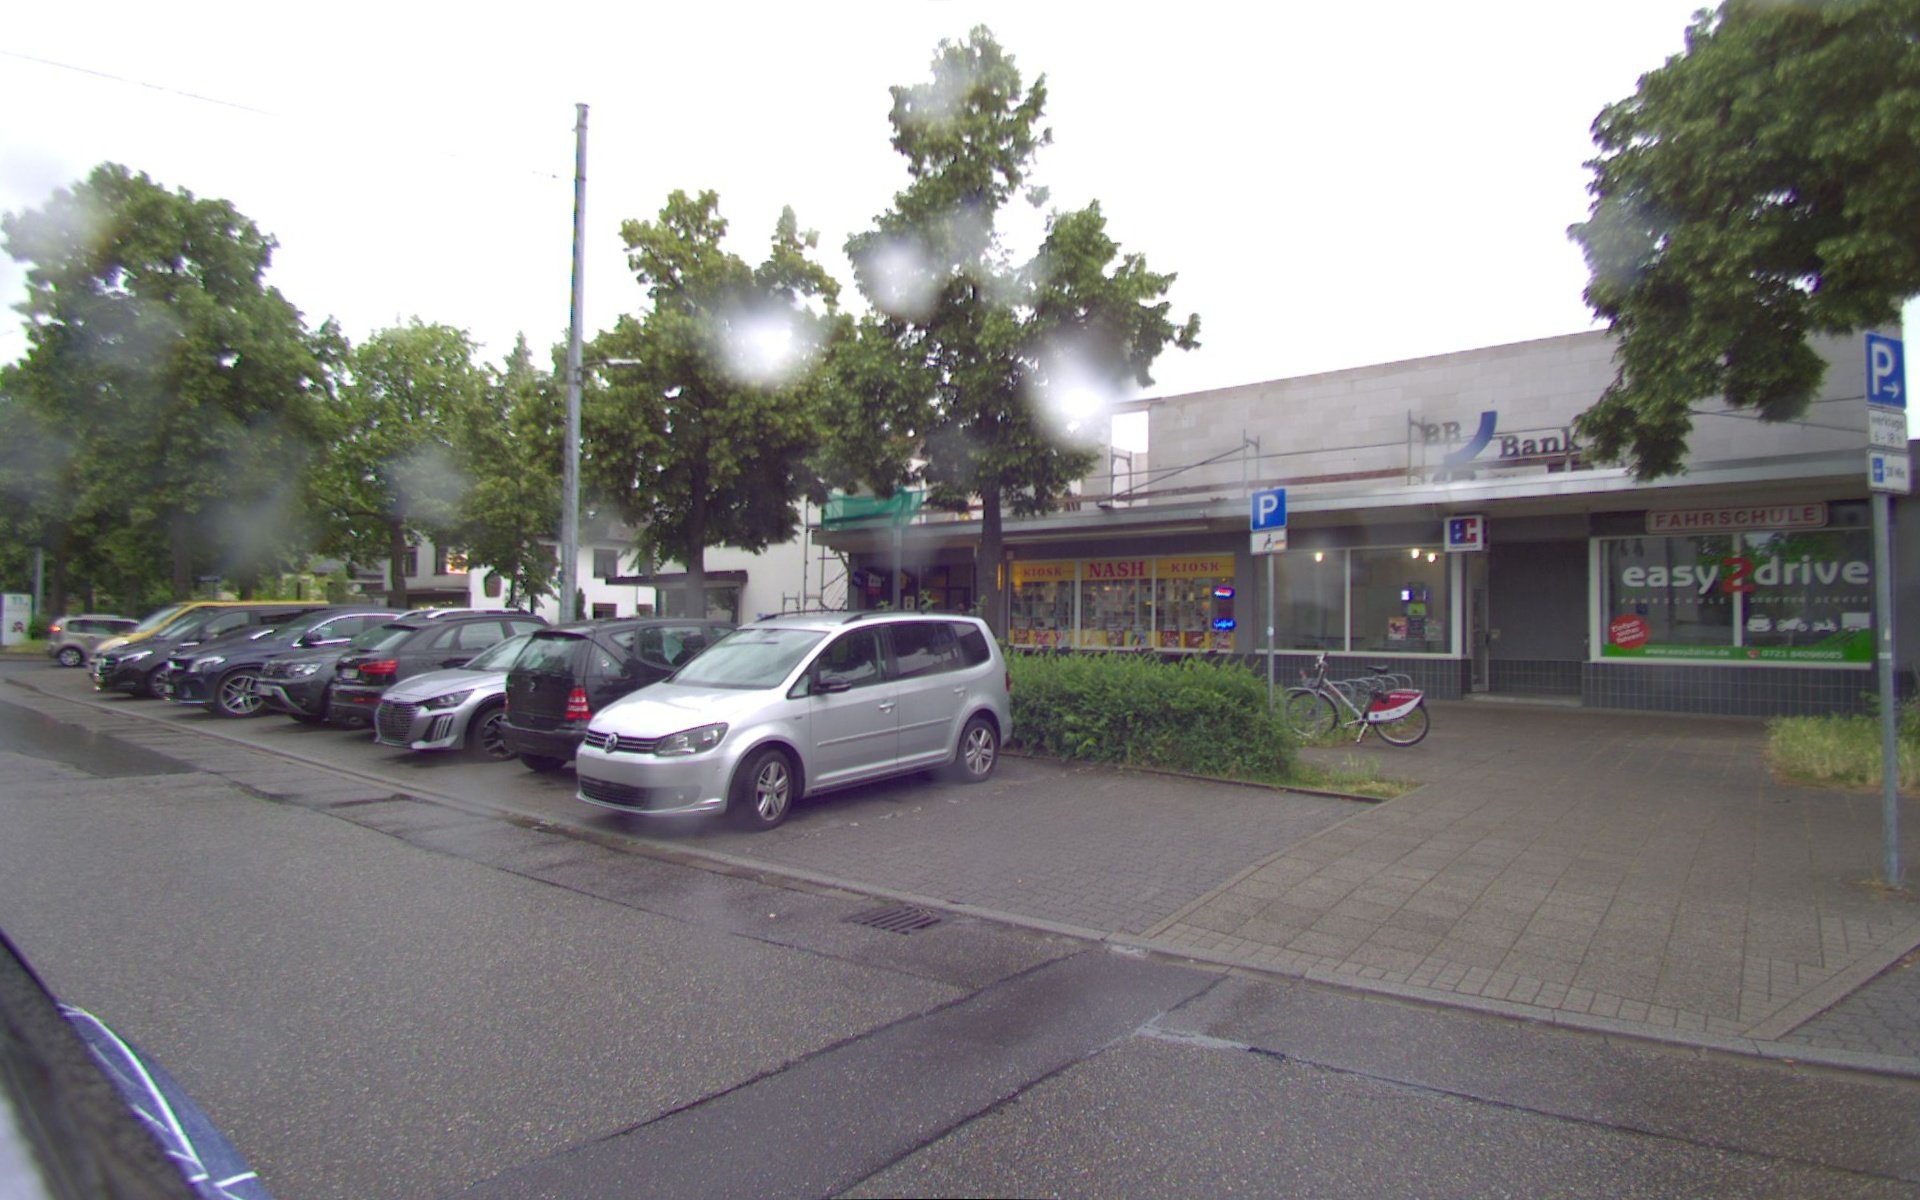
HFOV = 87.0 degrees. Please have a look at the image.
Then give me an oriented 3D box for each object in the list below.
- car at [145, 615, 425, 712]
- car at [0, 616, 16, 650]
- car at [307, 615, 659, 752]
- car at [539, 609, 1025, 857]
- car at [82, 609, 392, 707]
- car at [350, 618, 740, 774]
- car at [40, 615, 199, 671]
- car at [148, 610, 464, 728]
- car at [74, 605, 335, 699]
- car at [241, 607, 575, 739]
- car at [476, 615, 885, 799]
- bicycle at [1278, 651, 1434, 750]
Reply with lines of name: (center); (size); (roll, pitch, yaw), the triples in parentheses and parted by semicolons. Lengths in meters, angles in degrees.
car: (-13.010, 1.138, 19.741); (1.713, 1.639, 4.231); (-1, -1, 38)
car: (-49.724, 1.690, 50.231); (1.997, 1.698, 3.950); (-1, 0, 37)
car: (-6.569, 1.034, 14.353); (1.713, 1.607, 4.231); (-1, -1, 38)
car: (-1.315, 0.913, 9.007); (1.713, 1.647, 4.231); (-1, -1, 38)
car: (-15.150, 1.118, 21.519); (1.713, 1.813, 5.114); (-1, -1, 38)
car: (-4.953, 1.029, 12.610); (1.713, 1.544, 4.231); (-1, -1, 38)
car: (-27.905, 1.381, 33.783); (3.934, 1.700, 1.845); (-1, 0, -36)
car: (-10.986, 1.051, 17.285); (1.713, 1.740, 4.231); (-1, -1, 38)
car: (-17.438, 1.108, 23.571); (1.713, 1.973, 4.600); (-1, -1, 38)
car: (-8.344, 0.990, 15.645); (1.713, 1.740, 4.231); (-1, -1, 38)
car: (-2.846, 0.978, 11.148); (1.633, 1.577, 4.231); (-1, 0, 38)
bicycle: (4.805, 1.200, 12.344); (1.739, 1.115, 0.316); (-1, 0, 25)
